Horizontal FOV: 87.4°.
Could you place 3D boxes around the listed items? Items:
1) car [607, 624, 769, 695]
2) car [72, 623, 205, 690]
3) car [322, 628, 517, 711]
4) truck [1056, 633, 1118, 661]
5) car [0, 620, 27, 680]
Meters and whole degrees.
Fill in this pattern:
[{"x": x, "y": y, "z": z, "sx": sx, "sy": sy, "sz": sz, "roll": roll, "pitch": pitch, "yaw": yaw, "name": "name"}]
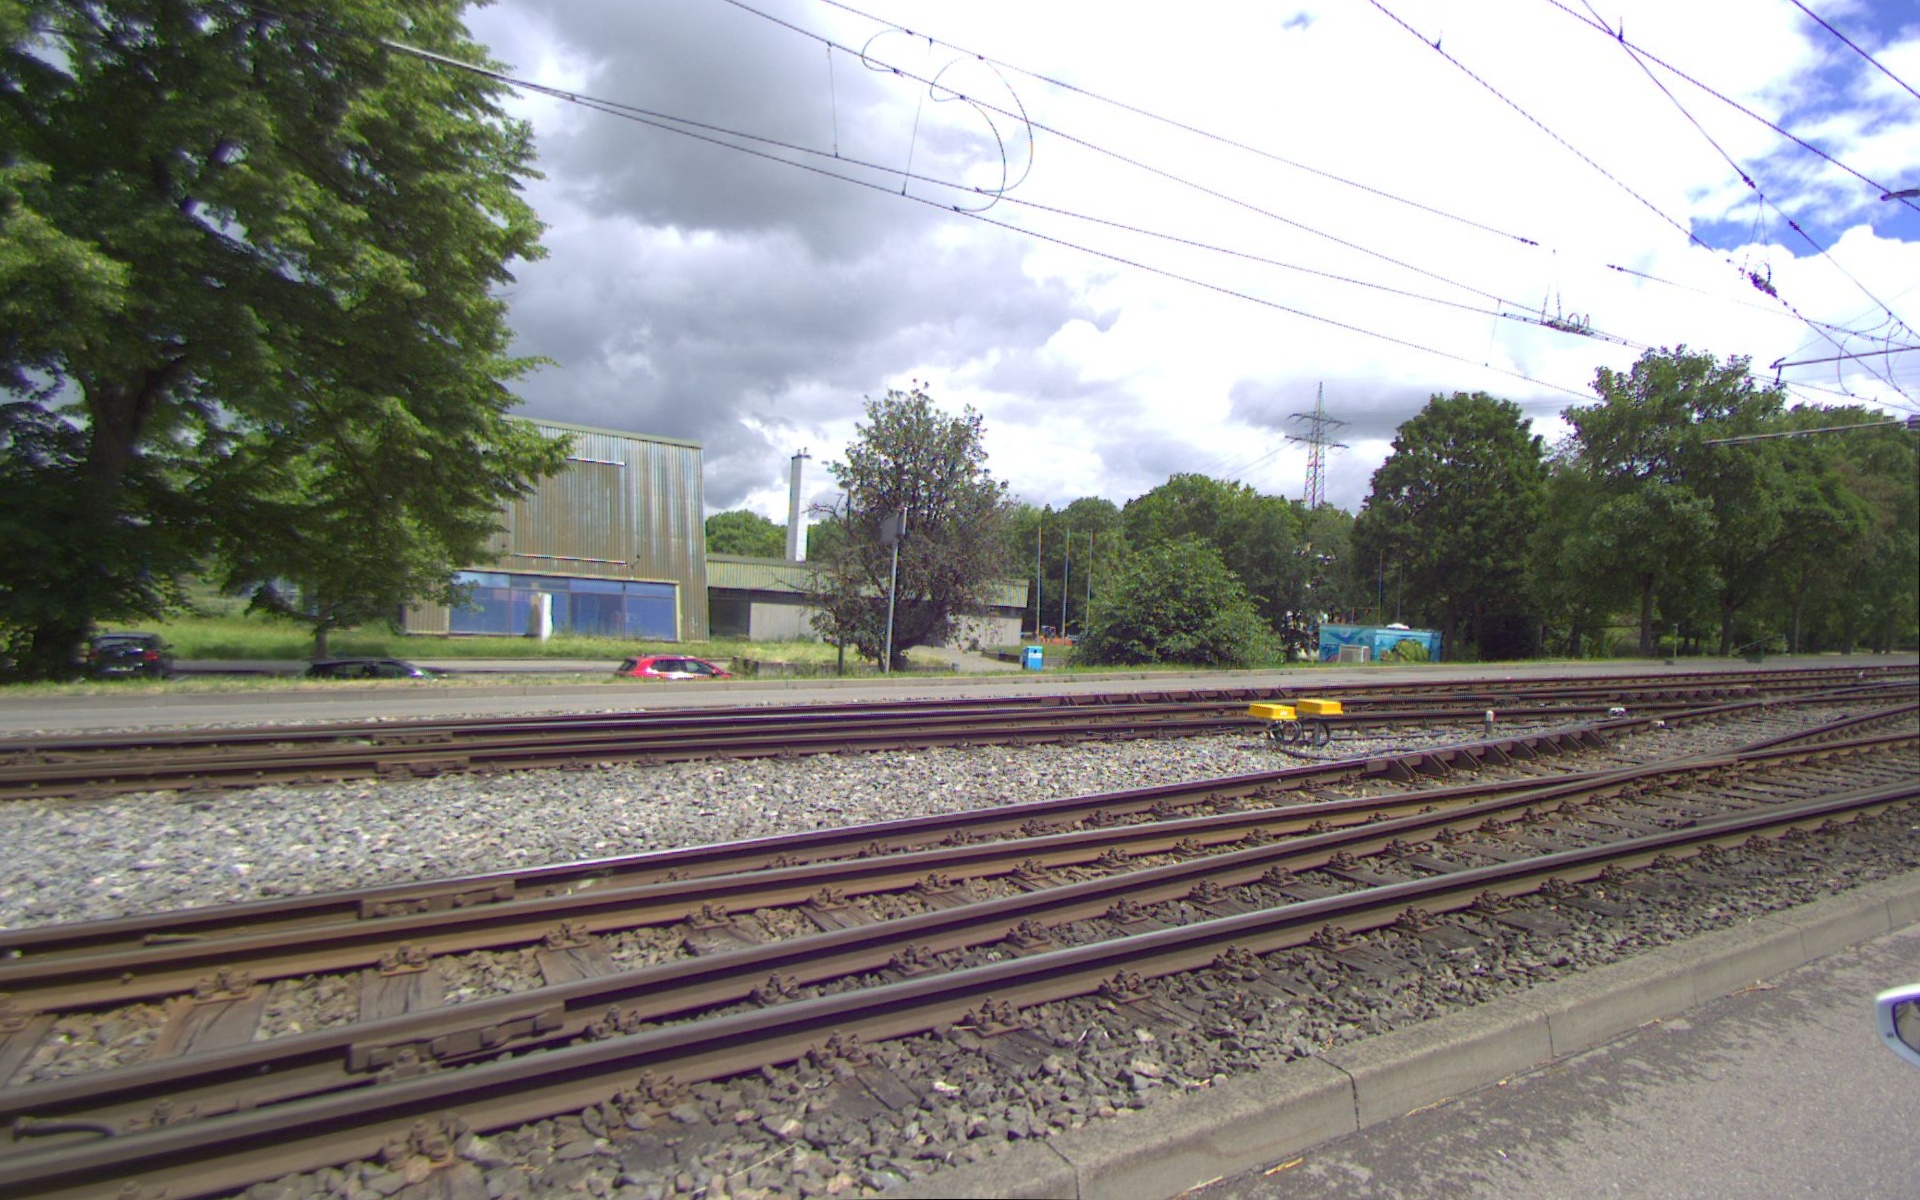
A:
[{"x": -7.437, "y": 1.571, "z": 27.529, "sx": 3.955, "sy": 1.795, "sz": 1.806, "roll": 1, "pitch": 0, "yaw": -32, "name": "car"}, {"x": -23.951, "y": 1.598, "z": 29.448, "sx": 1.832, "sy": 1.620, "sz": 3.979, "roll": 2, "pitch": 1, "yaw": -21, "name": "car"}, {"x": -12.786, "y": 1.595, "z": 23.970, "sx": 3.950, "sy": 1.795, "sz": 1.808, "roll": 1, "pitch": 0, "yaw": -28, "name": "car"}, {"x": 10.625, "y": 3.922, "z": 84.786, "sx": 1.978, "sy": 2.207, "sz": 5.796, "roll": 1, "pitch": -2, "yaw": -32, "name": "truck"}, {"x": -27.650, "y": 1.436, "z": 27.354, "sx": 1.831, "sy": 1.620, "sz": 3.981, "roll": 2, "pitch": 1, "yaw": -20, "name": "car"}]
